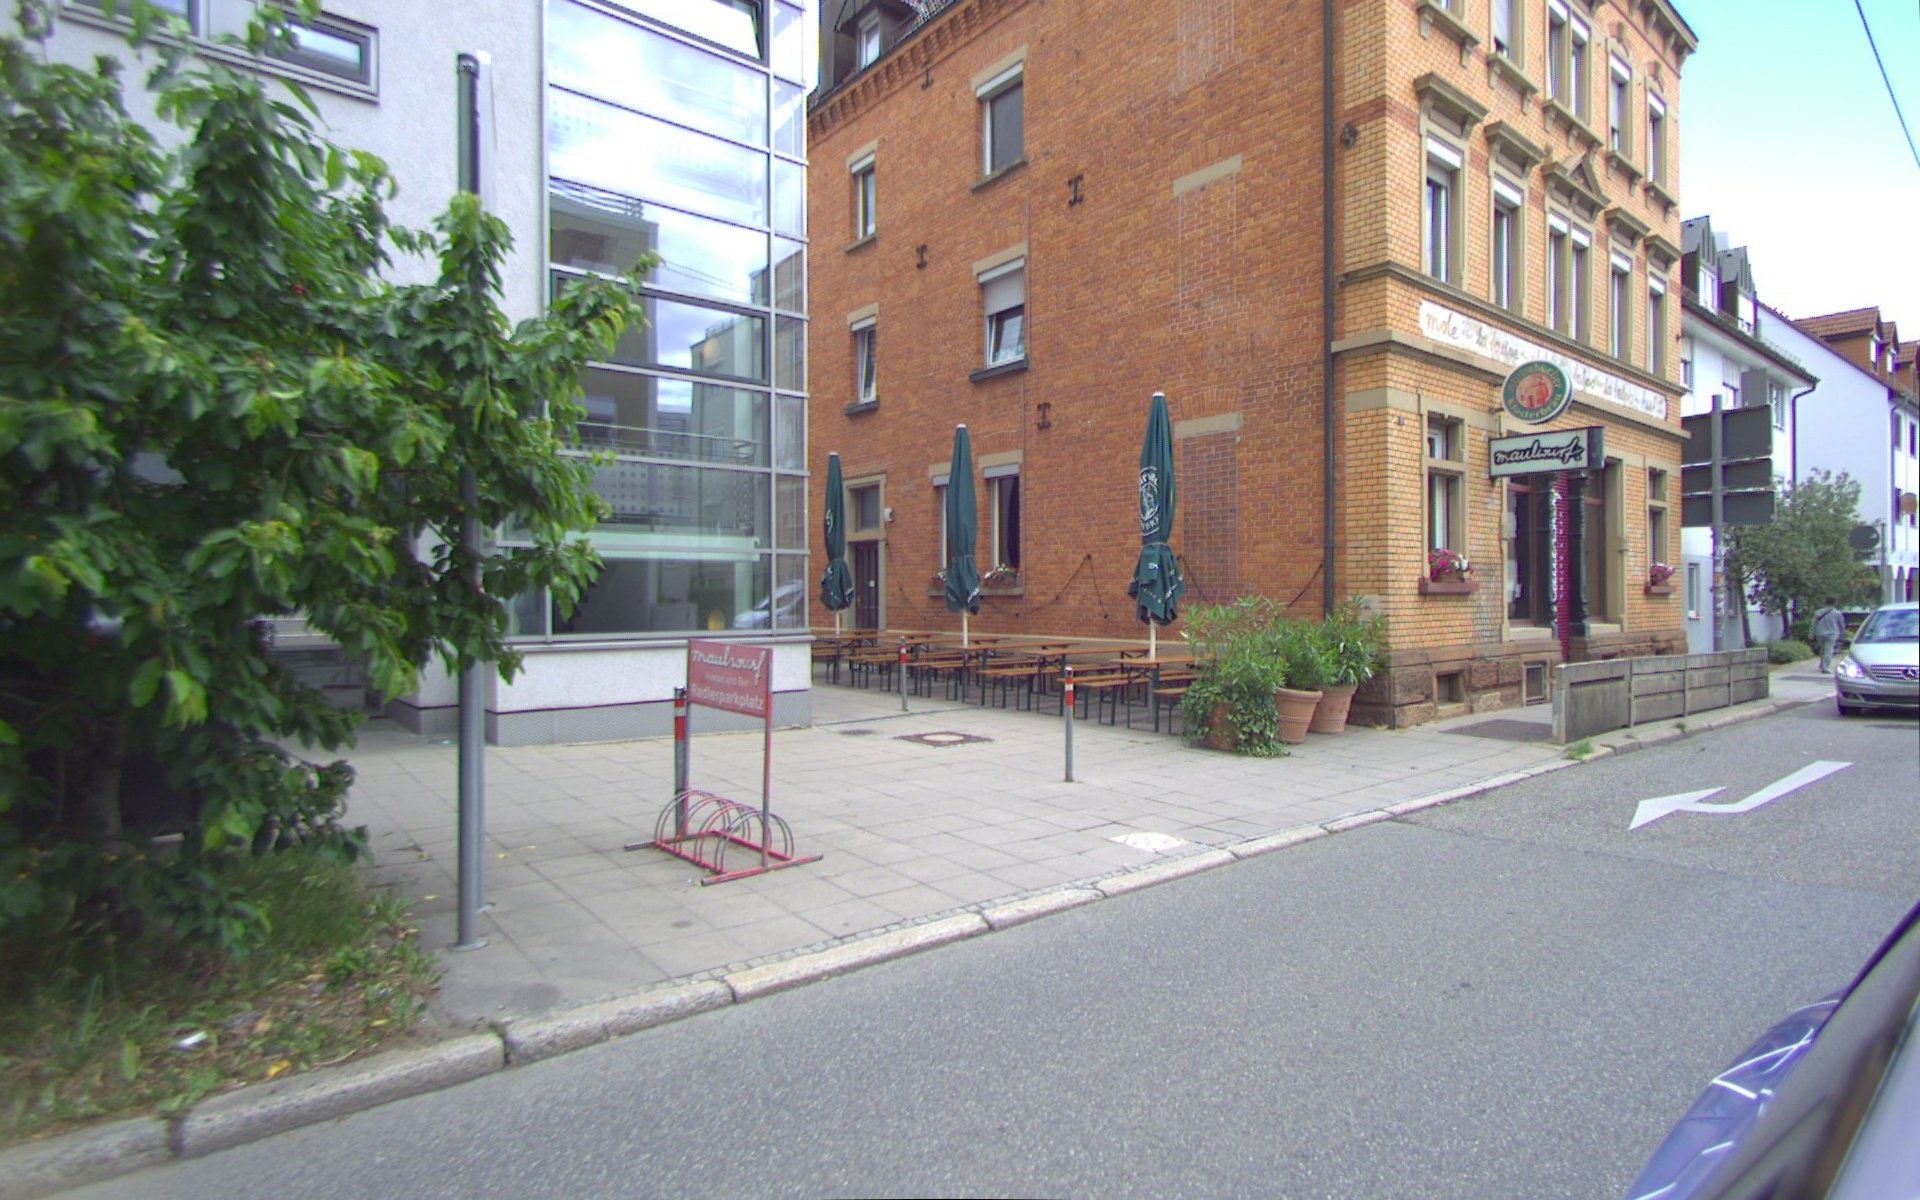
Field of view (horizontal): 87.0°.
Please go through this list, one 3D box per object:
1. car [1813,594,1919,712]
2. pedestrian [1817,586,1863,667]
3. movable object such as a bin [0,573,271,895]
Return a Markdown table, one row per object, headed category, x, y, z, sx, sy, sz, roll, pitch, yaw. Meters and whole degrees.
| category | x | y | z | sx | sy | sz | roll | pitch | yaw |
| --- | --- | --- | --- | --- | --- | --- | --- | --- | --- |
| car | 14.479 | 0.688 | 14.820 | 4.485 | 1.566 | 1.998 | 0 | -2 | -37 |
| pedestrian | 19.428 | 0.560 | 22.356 | 0.638 | 1.753 | 0.689 | 0 | 0 | -41 |
| movable object such as a bin | -4.508 | 0.610 | 5.360 | 1.310 | 1.484 | 1.100 | 0 | 1 | -41 |
